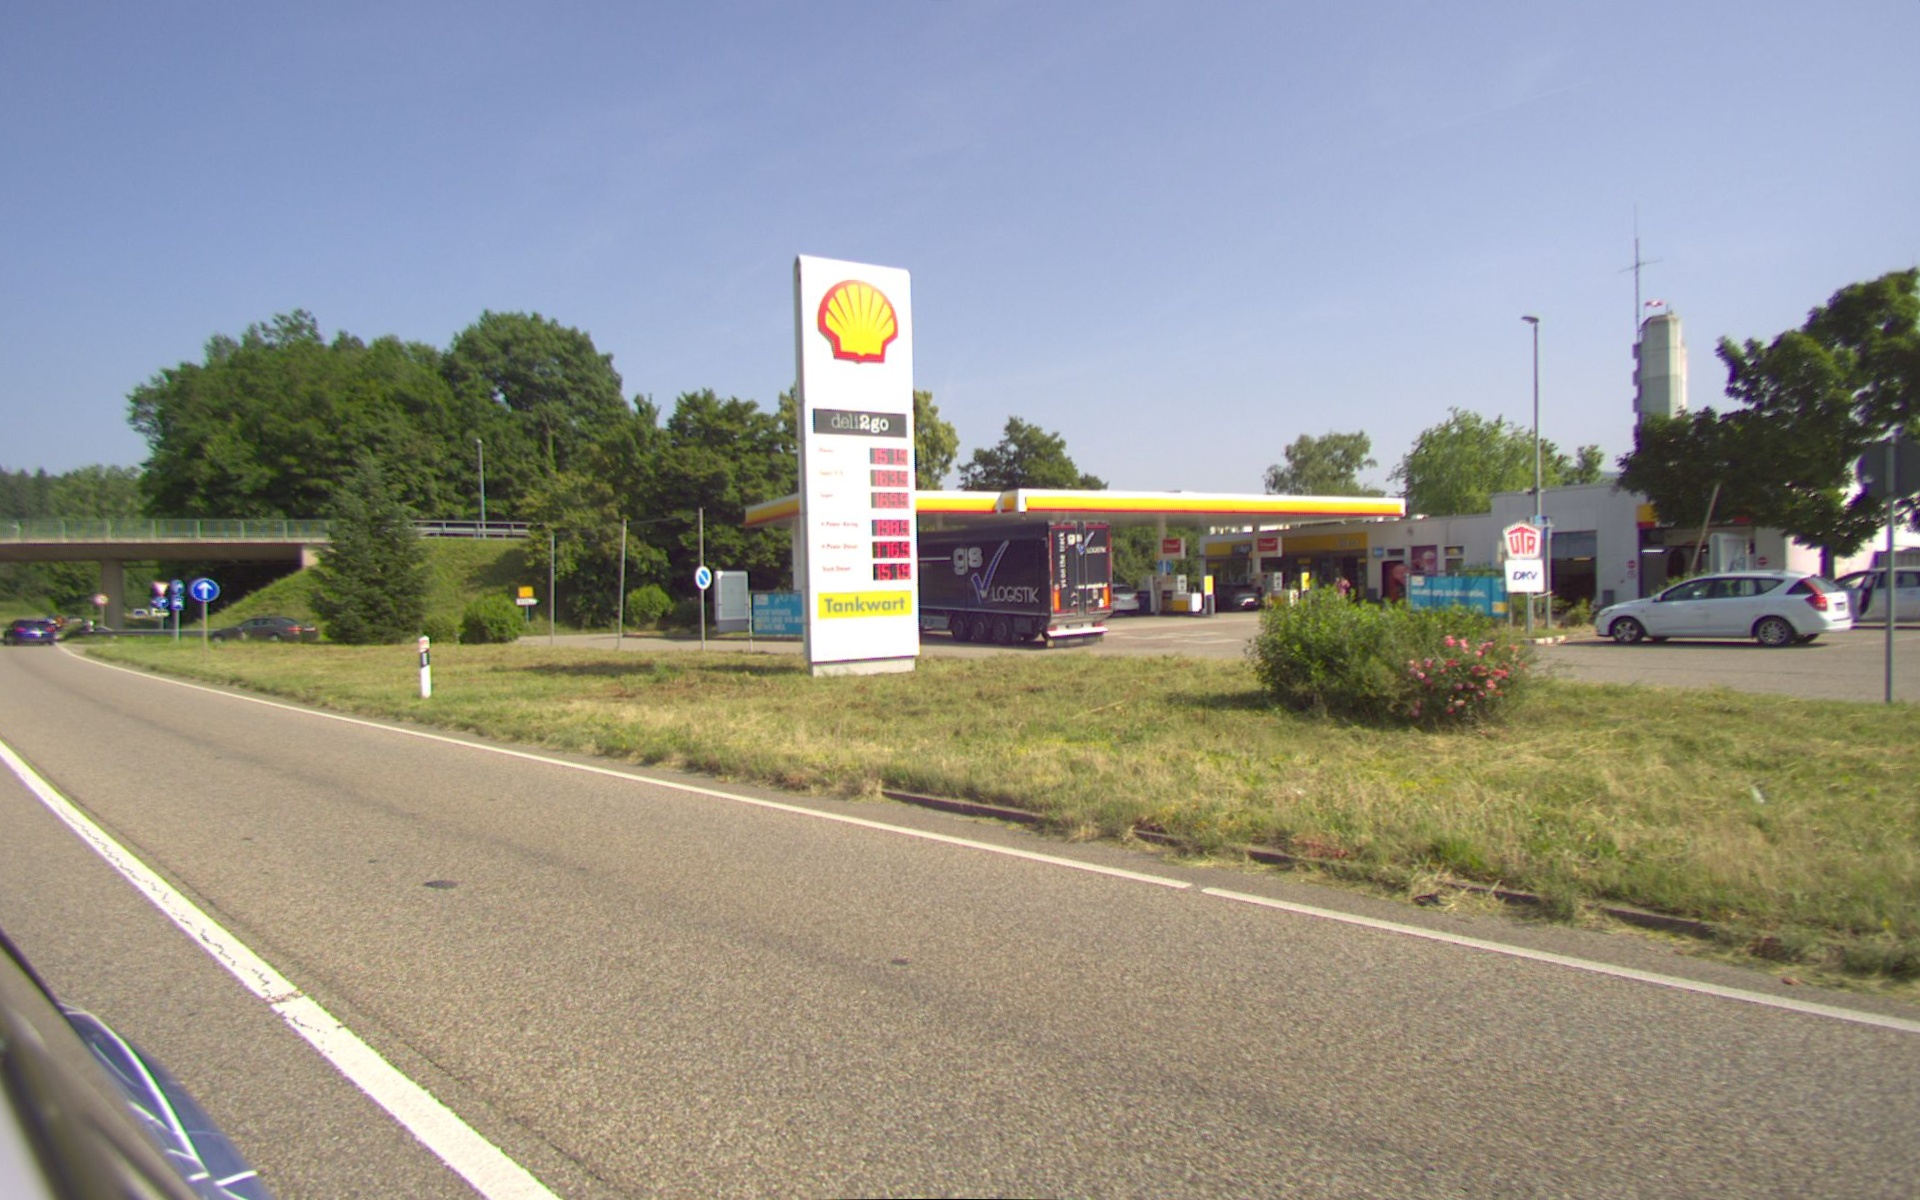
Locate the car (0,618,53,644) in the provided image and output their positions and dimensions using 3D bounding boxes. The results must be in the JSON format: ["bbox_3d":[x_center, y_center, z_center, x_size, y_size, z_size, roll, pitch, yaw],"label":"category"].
[{"bbox_3d":[-50.875,1.672,54.930,3.915,1.366,1.662,-1,-2,36],"label":"car"}]

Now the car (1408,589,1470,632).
[{"bbox_3d":[18.491,0.393,39.229,1.708,1.578,4.289,-1,-1,20],"label":"car"}]

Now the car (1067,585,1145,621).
[{"bbox_3d":[7.136,0.145,49.943,1.877,1.655,4.013,-2,0,-25],"label":"car"}]

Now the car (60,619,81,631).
[{"bbox_3d":[-102.164,2.916,116.238,1.658,1.366,3.925,1,-2,-44],"label":"car"}]

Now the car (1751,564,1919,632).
[{"bbox_3d":[22.549,-0.044,24.838,1.694,1.578,4.664,-1,-1,-41],"label":"car"}]

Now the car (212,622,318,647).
[{"bbox_3d":[-33.784,1.679,49.221,4.049,1.181,1.806,0,-2,6],"label":"car"}]

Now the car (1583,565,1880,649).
[{"bbox_3d":[16.063,0.167,21.343,1.692,1.578,4.669,-1,-1,-35],"label":"car"}]

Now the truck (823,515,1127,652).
[{"bbox_3d":[-0.380,-0.429,38.723,3.011,4.166,16.821,0,0,-32],"label":"truck"}]

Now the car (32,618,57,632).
[{"bbox_3d":[-87.213,2.372,96.397,1.658,1.366,3.925,1,-2,-44],"label":"car"}]

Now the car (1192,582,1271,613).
[{"bbox_3d":[13.887,-0.124,52.031,1.965,1.470,4.013,-2,0,-19],"label":"car"}]
